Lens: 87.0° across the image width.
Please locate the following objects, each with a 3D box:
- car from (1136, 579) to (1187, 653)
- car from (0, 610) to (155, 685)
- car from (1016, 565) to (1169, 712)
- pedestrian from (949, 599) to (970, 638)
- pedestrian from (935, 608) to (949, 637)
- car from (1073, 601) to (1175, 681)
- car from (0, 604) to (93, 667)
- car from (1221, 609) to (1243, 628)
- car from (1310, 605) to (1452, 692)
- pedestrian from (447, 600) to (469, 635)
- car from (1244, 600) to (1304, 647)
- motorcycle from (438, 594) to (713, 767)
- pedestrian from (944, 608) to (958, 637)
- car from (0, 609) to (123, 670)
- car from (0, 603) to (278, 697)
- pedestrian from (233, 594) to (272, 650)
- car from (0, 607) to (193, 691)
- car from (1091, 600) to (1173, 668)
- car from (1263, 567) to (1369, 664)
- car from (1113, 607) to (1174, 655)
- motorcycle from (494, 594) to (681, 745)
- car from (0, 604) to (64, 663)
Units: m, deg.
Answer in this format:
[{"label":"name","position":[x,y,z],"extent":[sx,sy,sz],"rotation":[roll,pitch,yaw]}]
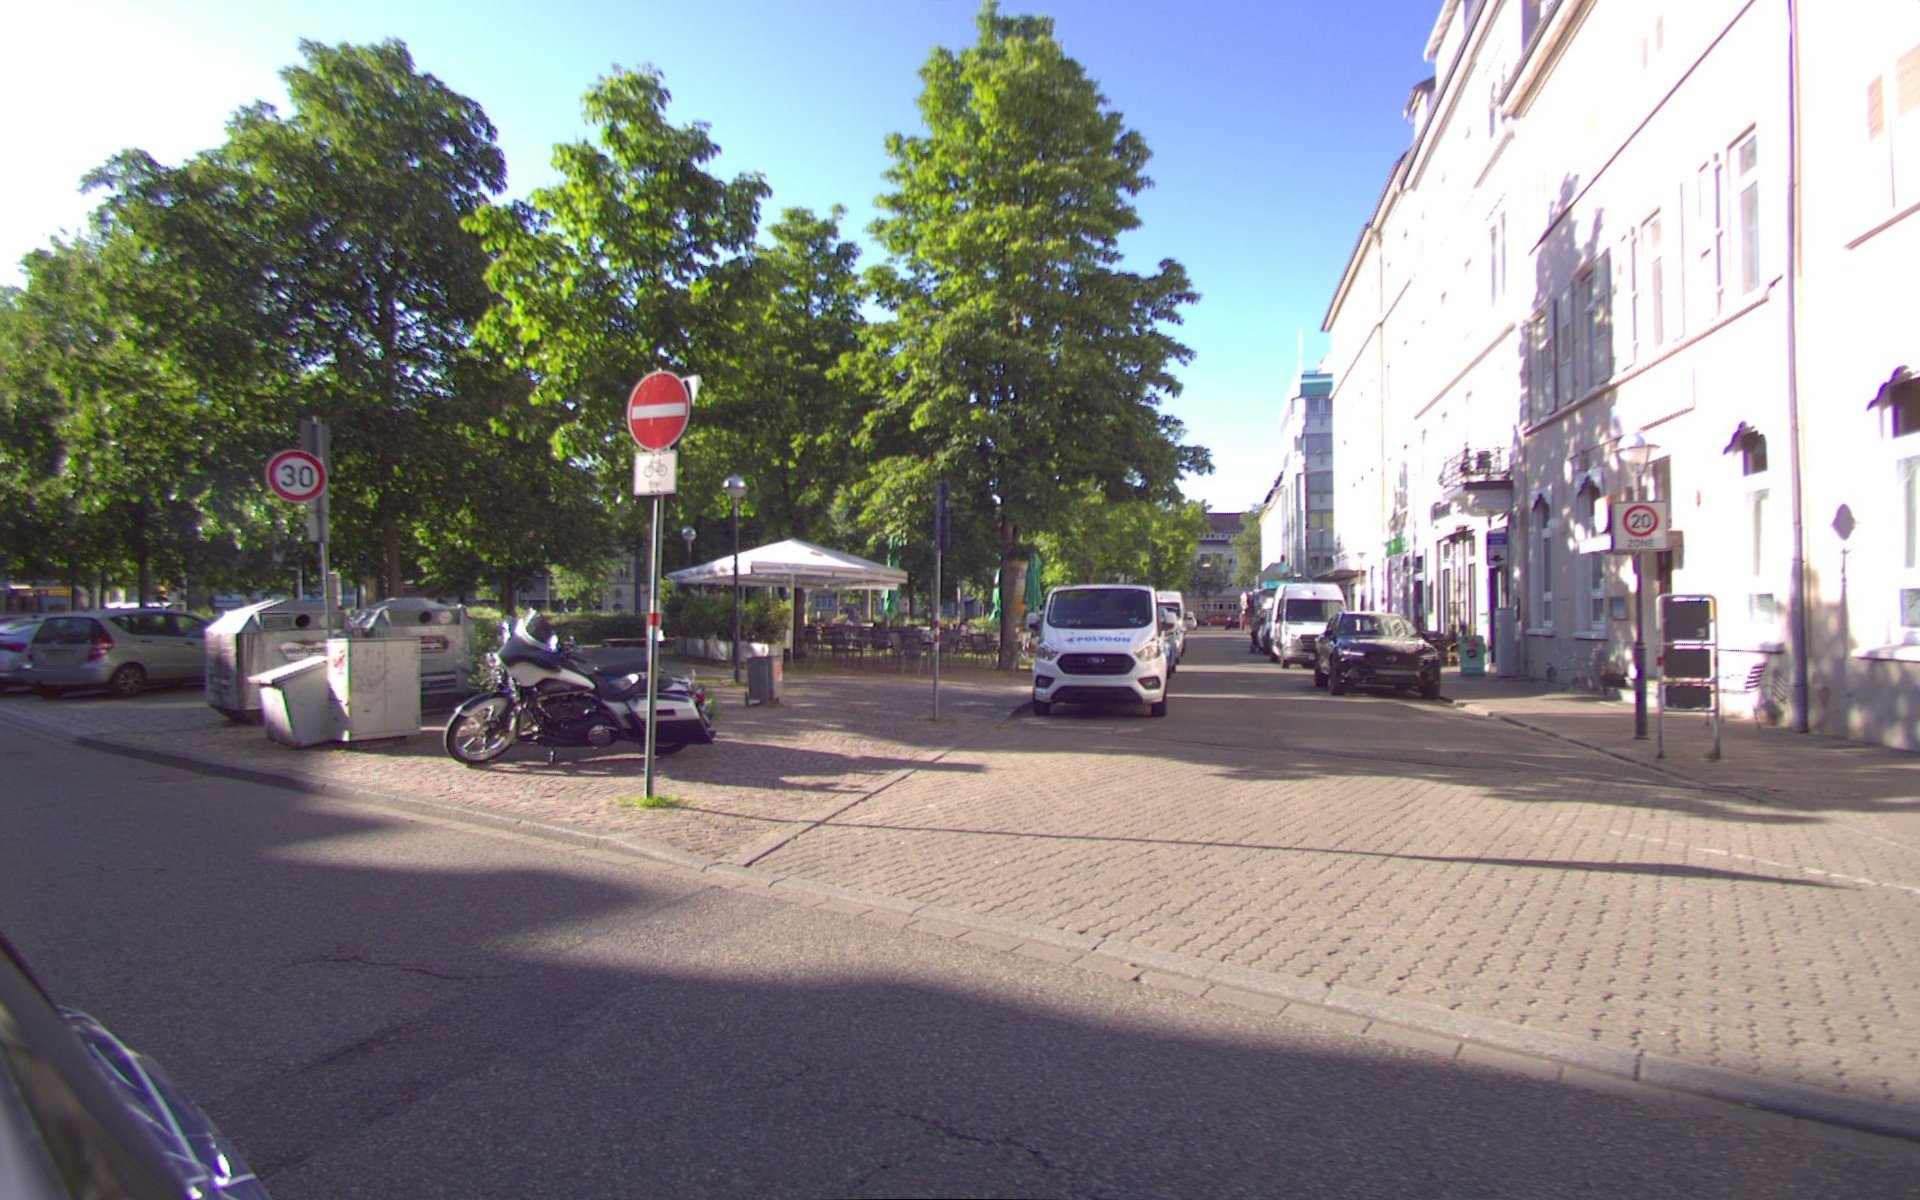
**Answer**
[{"label":"car","position":[9.130,0.736,45.814],"extent":[2.097,3.109,5.875],"rotation":[-1,-1,12]},{"label":"car","position":[-20.215,0.995,21.954],"extent":[1.979,1.485,3.985],"rotation":[-1,0,12]},{"label":"car","position":[2.315,0.575,16.347],"extent":[2.053,1.959,5.308],"rotation":[-1,-1,12]},{"label":"pedestrian","position":[-0.012,0.667,35.955],"extent":[0.570,1.367,0.562],"rotation":[-1,0,28]},{"label":"pedestrian","position":[-0.583,0.750,33.450],"extent":[0.380,0.960,0.364],"rotation":[-1,0,13]},{"label":"car","position":[3.587,0.843,21.578],"extent":[1.908,1.528,4.135],"rotation":[-1,-1,12]},{"label":"car","position":[-26.832,0.969,27.905],"extent":[2.086,1.657,3.977],"rotation":[1,1,18]},{"label":"car","position":[27.150,1.860,101.150],"extent":[1.908,1.802,4.570],"rotation":[-1,-1,12]},{"label":"car","position":[8.267,0.917,20.276],"extent":[1.909,1.528,4.364],"rotation":[-1,-1,13]},{"label":"pedestrian","position":[-18.492,0.655,37.259],"extent":[0.516,1.266,0.523],"rotation":[0,-1,20]},{"label":"car","position":[12.829,0.970,41.564],"extent":[1.908,1.802,4.570],"rotation":[-1,-1,12]},{"label":"motorcycle","position":[-3.570,0.675,9.464],"extent":[2.282,1.434,1.004],"rotation":[-1,0,-25]},{"label":"pedestrian","position":[-0.305,0.745,34.022],"extent":[0.363,0.960,0.382],"rotation":[-1,0,18]},{"label":"car","position":[-24.651,1.024,26.343],"extent":[1.989,1.485,3.966],"rotation":[-1,0,25]},{"label":"car","position":[-15.481,0.873,19.327],"extent":[1.976,1.574,3.992],"rotation":[-1,0,6]},{"label":"pedestrian","position":[-16.220,0.493,23.194],"extent":[0.520,1.266,0.519],"rotation":[0,-1,5]},{"label":"car","position":[-17.766,0.885,19.984],"extent":[1.976,1.453,3.992],"rotation":[-1,0,6]},{"label":"car","position":[4.548,0.854,26.354],"extent":[1.908,1.624,4.135],"rotation":[-1,-1,12]},{"label":"car","position":[11.094,0.506,32.099],"extent":[2.191,2.722,6.993],"rotation":[-1,-1,12]},{"label":"car","position":[6.323,1.054,34.649],"extent":[1.908,1.528,4.135],"rotation":[-1,-1,12]},{"label":"motorcycle","position":[-3.854,0.669,10.464],"extent":[1.724,1.434,0.832],"rotation":[-1,0,-26]},{"label":"car","position":[-29.026,0.988,29.441],"extent":[1.984,1.706,3.976],"rotation":[-1,0,19]}]
